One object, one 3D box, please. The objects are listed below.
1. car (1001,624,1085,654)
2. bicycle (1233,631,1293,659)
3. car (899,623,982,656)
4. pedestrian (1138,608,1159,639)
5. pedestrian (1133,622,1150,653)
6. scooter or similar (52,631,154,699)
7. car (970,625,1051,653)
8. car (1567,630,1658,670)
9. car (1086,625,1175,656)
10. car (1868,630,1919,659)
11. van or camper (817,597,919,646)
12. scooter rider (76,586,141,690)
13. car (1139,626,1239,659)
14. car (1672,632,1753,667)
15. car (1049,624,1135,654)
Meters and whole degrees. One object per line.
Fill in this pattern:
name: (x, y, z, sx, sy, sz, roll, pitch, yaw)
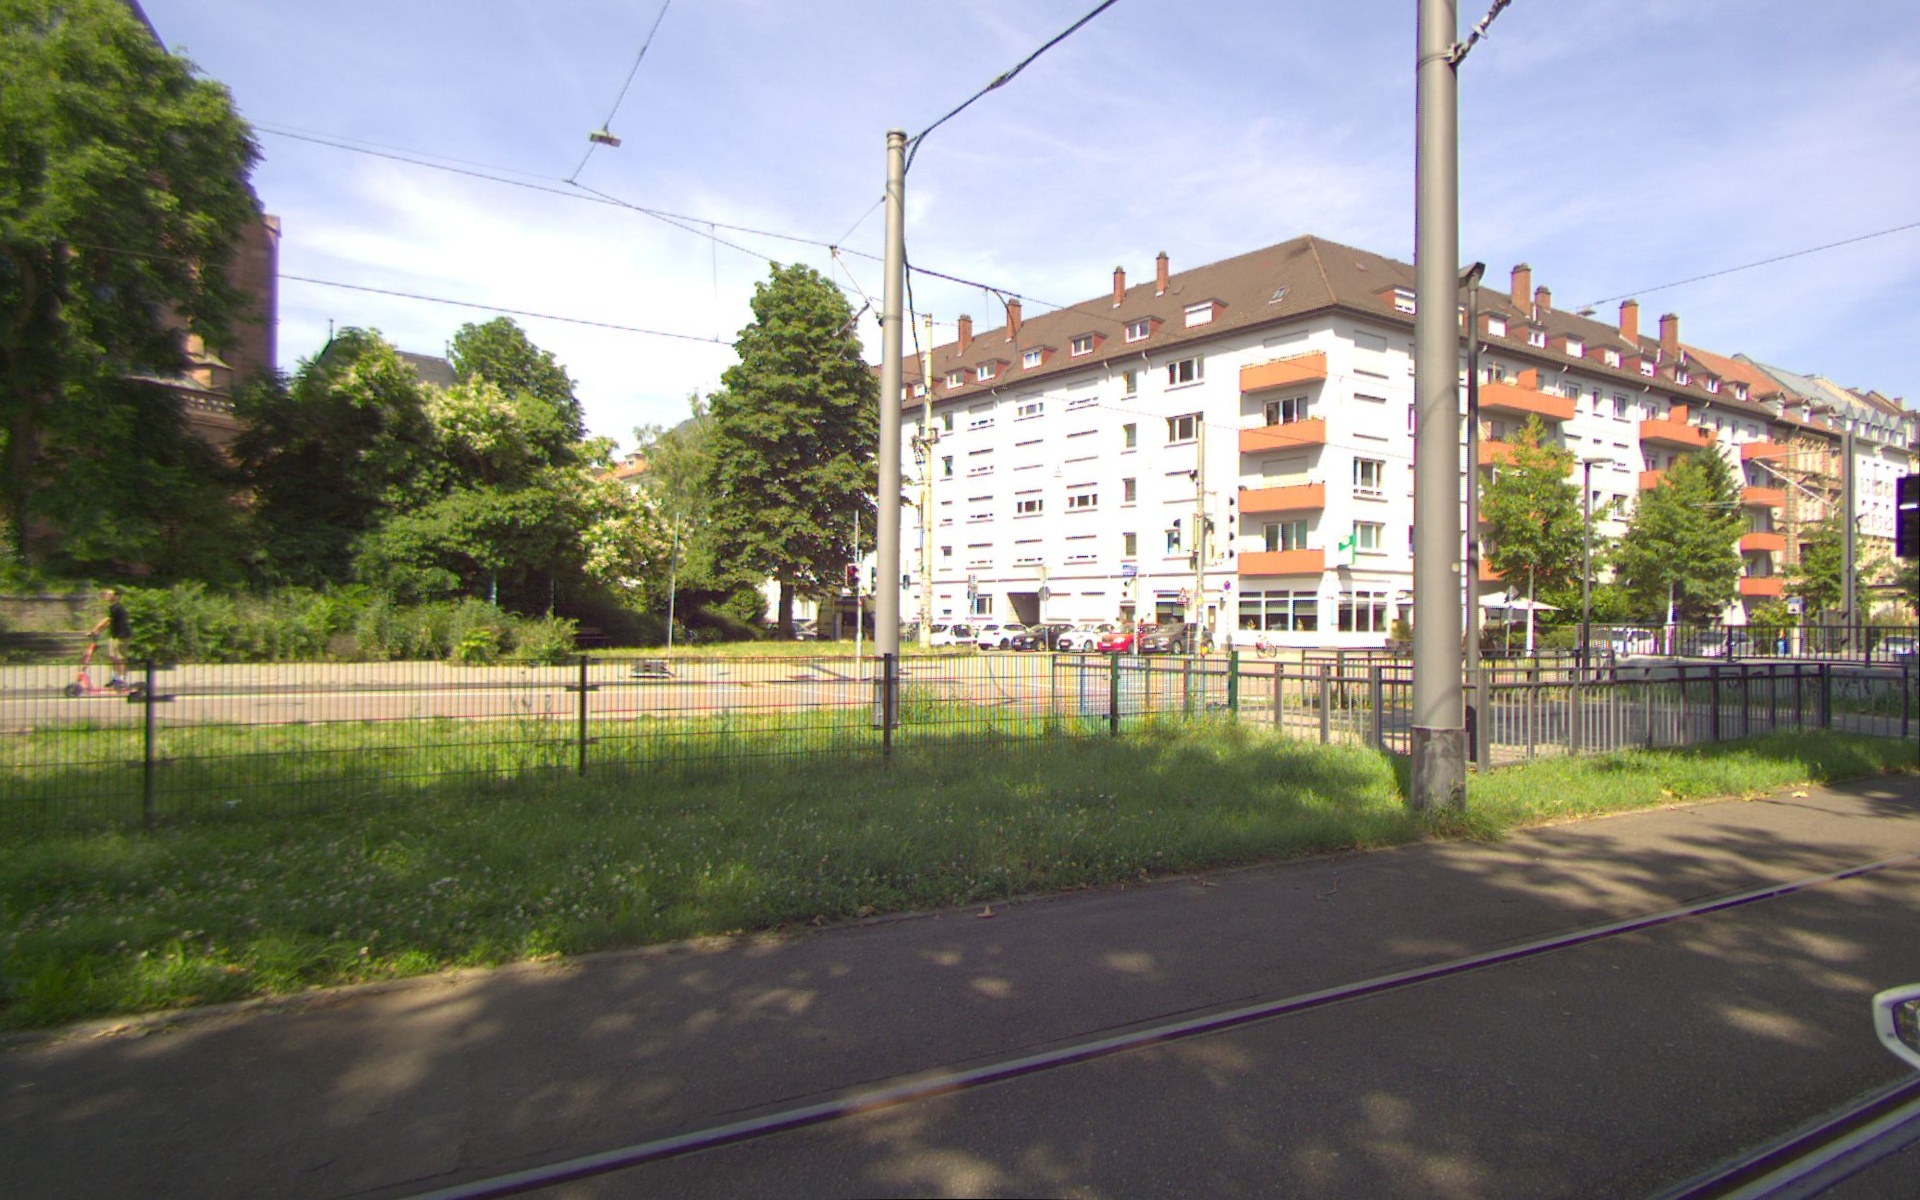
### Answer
car: (4.295, 1.993, 51.565, 4.129, 1.425, 1.917, 2, -1, -38)
bicycle: (13.053, 1.936, 43.223, 2.779, 1.152, 0.905, 1, -1, -34)
car: (-0.935, 1.817, 46.933, 3.702, 1.425, 1.823, -1, -2, 44)
pedestrian: (9.719, 1.209, 51.776, 0.846, 1.593, 0.688, 0, -1, 36)
pedestrian: (9.259, 1.905, 51.309, 0.679, 1.593, 0.544, 0, -1, 36)
scooter or similar: (-15.865, 1.190, 18.624, 1.249, 1.220, 0.655, 1, -1, -15)
car: (2.731, 2.054, 53.843, 4.129, 1.425, 1.917, 1, -1, -38)
car: (26.186, 1.998, 40.261, 3.961, 1.518, 1.759, 1, -3, -36)
car: (8.126, 1.898, 47.684, 4.129, 1.425, 1.917, 2, -2, -38)
car: (51.870, 2.450, 55.504, 3.961, 1.518, 1.758, 2, -1, -36)
van or camper: (-4.758, 1.068, 51.325, 2.228, 2.360, 5.704, 2, -1, -42)
scooter rider: (-15.782, 0.703, 18.641, 0.658, 1.891, 0.662, 1, -1, -15)
car: (10.293, 1.868, 45.089, 4.598, 1.394, 1.821, 1, -2, -36)
car: (33.454, 2.180, 44.630, 3.961, 1.518, 1.759, 1, -3, -36)
car: (6.584, 1.936, 50.001, 4.129, 1.425, 1.917, 2, -2, -38)
